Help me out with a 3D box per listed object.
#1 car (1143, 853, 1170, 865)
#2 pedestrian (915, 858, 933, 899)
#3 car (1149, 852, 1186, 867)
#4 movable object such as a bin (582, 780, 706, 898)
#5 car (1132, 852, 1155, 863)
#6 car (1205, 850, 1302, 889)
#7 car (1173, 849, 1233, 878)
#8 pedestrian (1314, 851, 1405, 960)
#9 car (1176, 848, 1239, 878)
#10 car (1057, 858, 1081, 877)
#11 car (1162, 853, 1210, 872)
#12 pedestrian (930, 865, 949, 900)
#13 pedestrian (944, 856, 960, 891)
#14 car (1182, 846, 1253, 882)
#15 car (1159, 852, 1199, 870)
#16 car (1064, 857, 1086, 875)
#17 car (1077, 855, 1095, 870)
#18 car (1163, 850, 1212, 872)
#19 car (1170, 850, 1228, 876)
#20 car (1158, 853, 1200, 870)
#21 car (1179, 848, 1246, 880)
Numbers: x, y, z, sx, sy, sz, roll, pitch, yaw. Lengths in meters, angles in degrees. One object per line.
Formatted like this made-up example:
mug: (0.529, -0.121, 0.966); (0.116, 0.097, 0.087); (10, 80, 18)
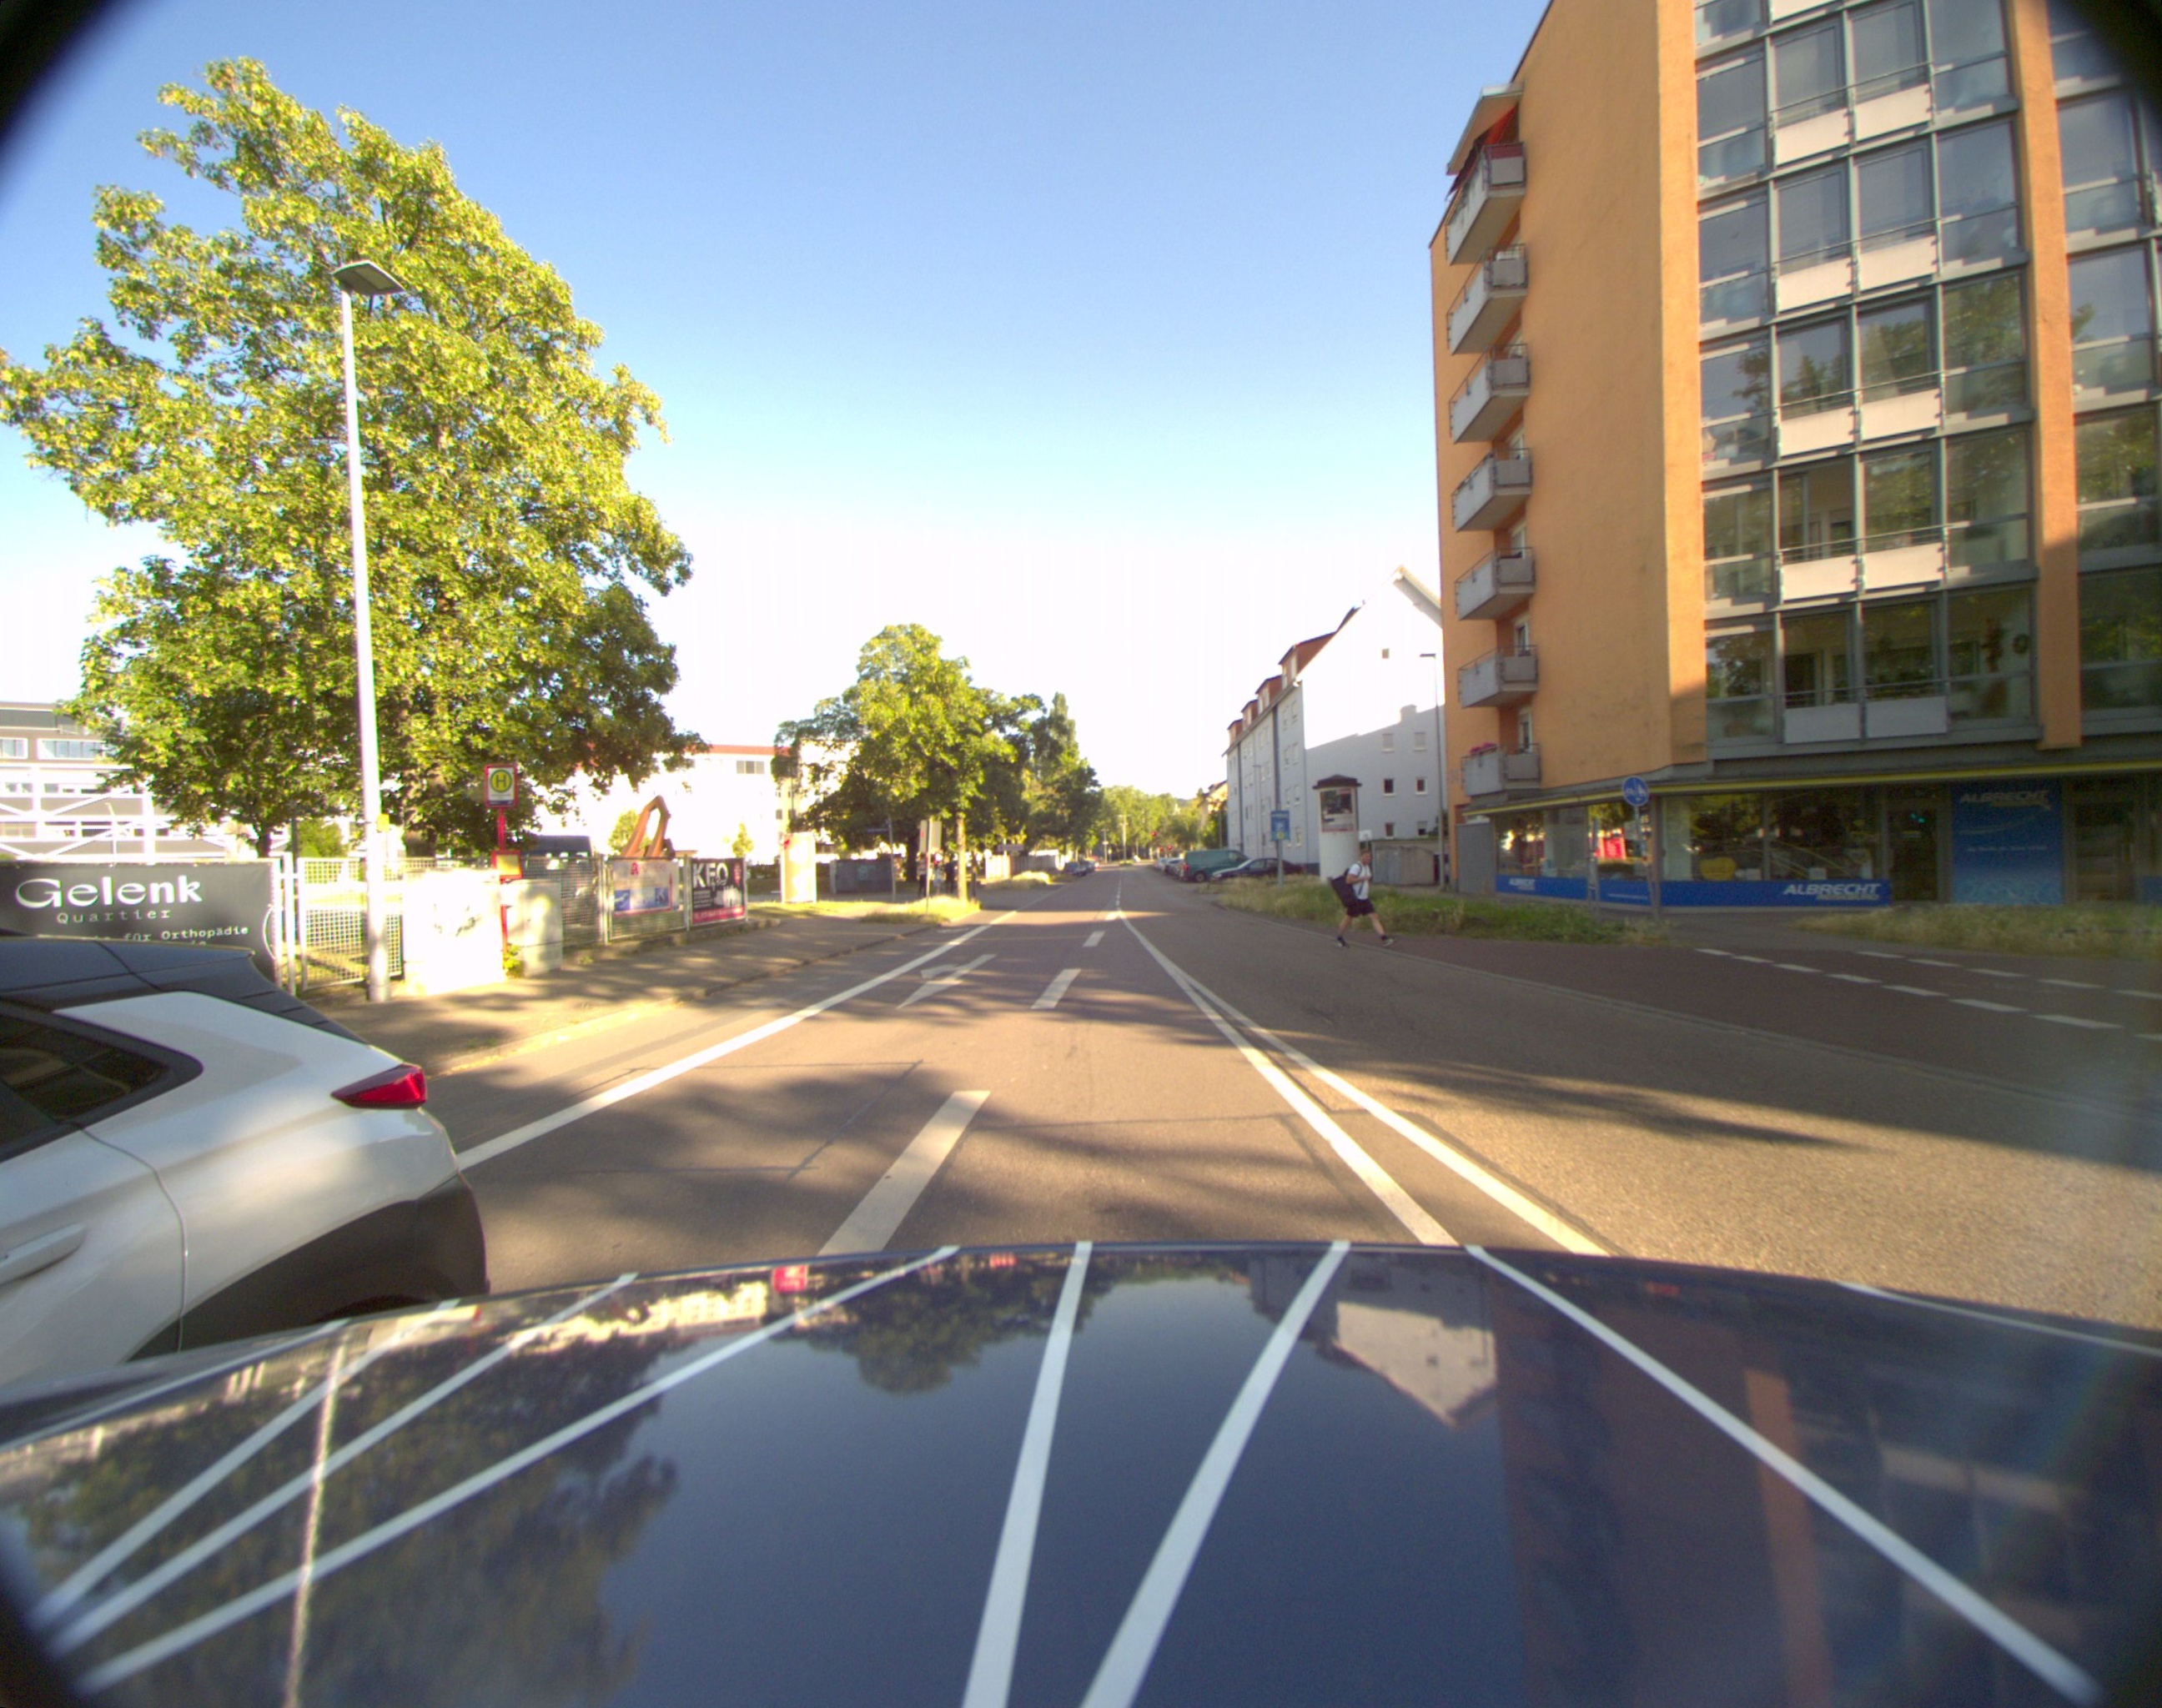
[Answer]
car: (10.461, 0.699, 105.238); (3.538, 1.564, 1.867); (-2, 1, 5)
pedestrian: (-6.801, 1.035, 32.925); (0.609, 1.727, 0.638); (-2, 1, -5)
car: (10.217, 0.641, 90.186); (4.257, 1.564, 1.867); (-2, 1, 5)
movable object such as a bin: (-22.235, -0.702, 38.545); (3.986, 5.447, 6.016); (-3, 1, -42)
car: (9.697, 0.584, 118.218); (3.538, 1.564, 1.867); (-2, 1, 5)
car: (8.292, 0.729, 36.870); (4.423, 1.652, 2.001); (-2, 1, 9)
car: (8.565, 0.665, 53.689); (4.059, 1.805, 1.937); (-2, 1, 5)
pedestrian: (4.716, 0.835, 12.915); (0.903, 1.727, 1.086); (-3, 1, -21)
car: (8.494, 0.585, 51.339); (3.995, 1.805, 2.000); (-2, 1, 5)
car: (-1.095, 1.215, 69.591); (1.998, 1.521, 3.999); (-2, 1, 1)
car: (9.562, 0.770, 69.370); (4.257, 1.564, 1.867); (-2, 1, 5)
pedestrian: (-6.014, 1.204, 32.286); (0.609, 1.426, 0.639); (-2, 1, 1)
pedestrian: (-6.291, 0.947, 36.989); (0.696, 1.659, 0.638); (-2, 1, -11)
car: (8.188, 0.591, 45.935); (3.996, 1.936, 2.000); (-2, 1, 4)
car: (10.254, 0.721, 80.062); (4.071, 1.741, 1.899); (-2, 1, 5)
car: (-0.593, 1.148, 73.939); (1.998, 1.521, 3.999); (-2, 1, 1)
car: (0.563, 0.947, 87.972); (1.998, 1.521, 3.999); (-2, 1, 1)
car: (9.269, 0.605, 66.483); (4.117, 1.762, 1.757); (-2, 1, 5)
car: (8.742, 0.660, 56.433); (4.071, 1.741, 1.899); (-2, 1, 5)
car: (10.302, 0.752, 79.927); (4.257, 1.564, 1.867); (-2, 1, 5)
car: (8.350, 0.621, 48.583); (3.995, 1.805, 2.000); (-2, 1, 5)
